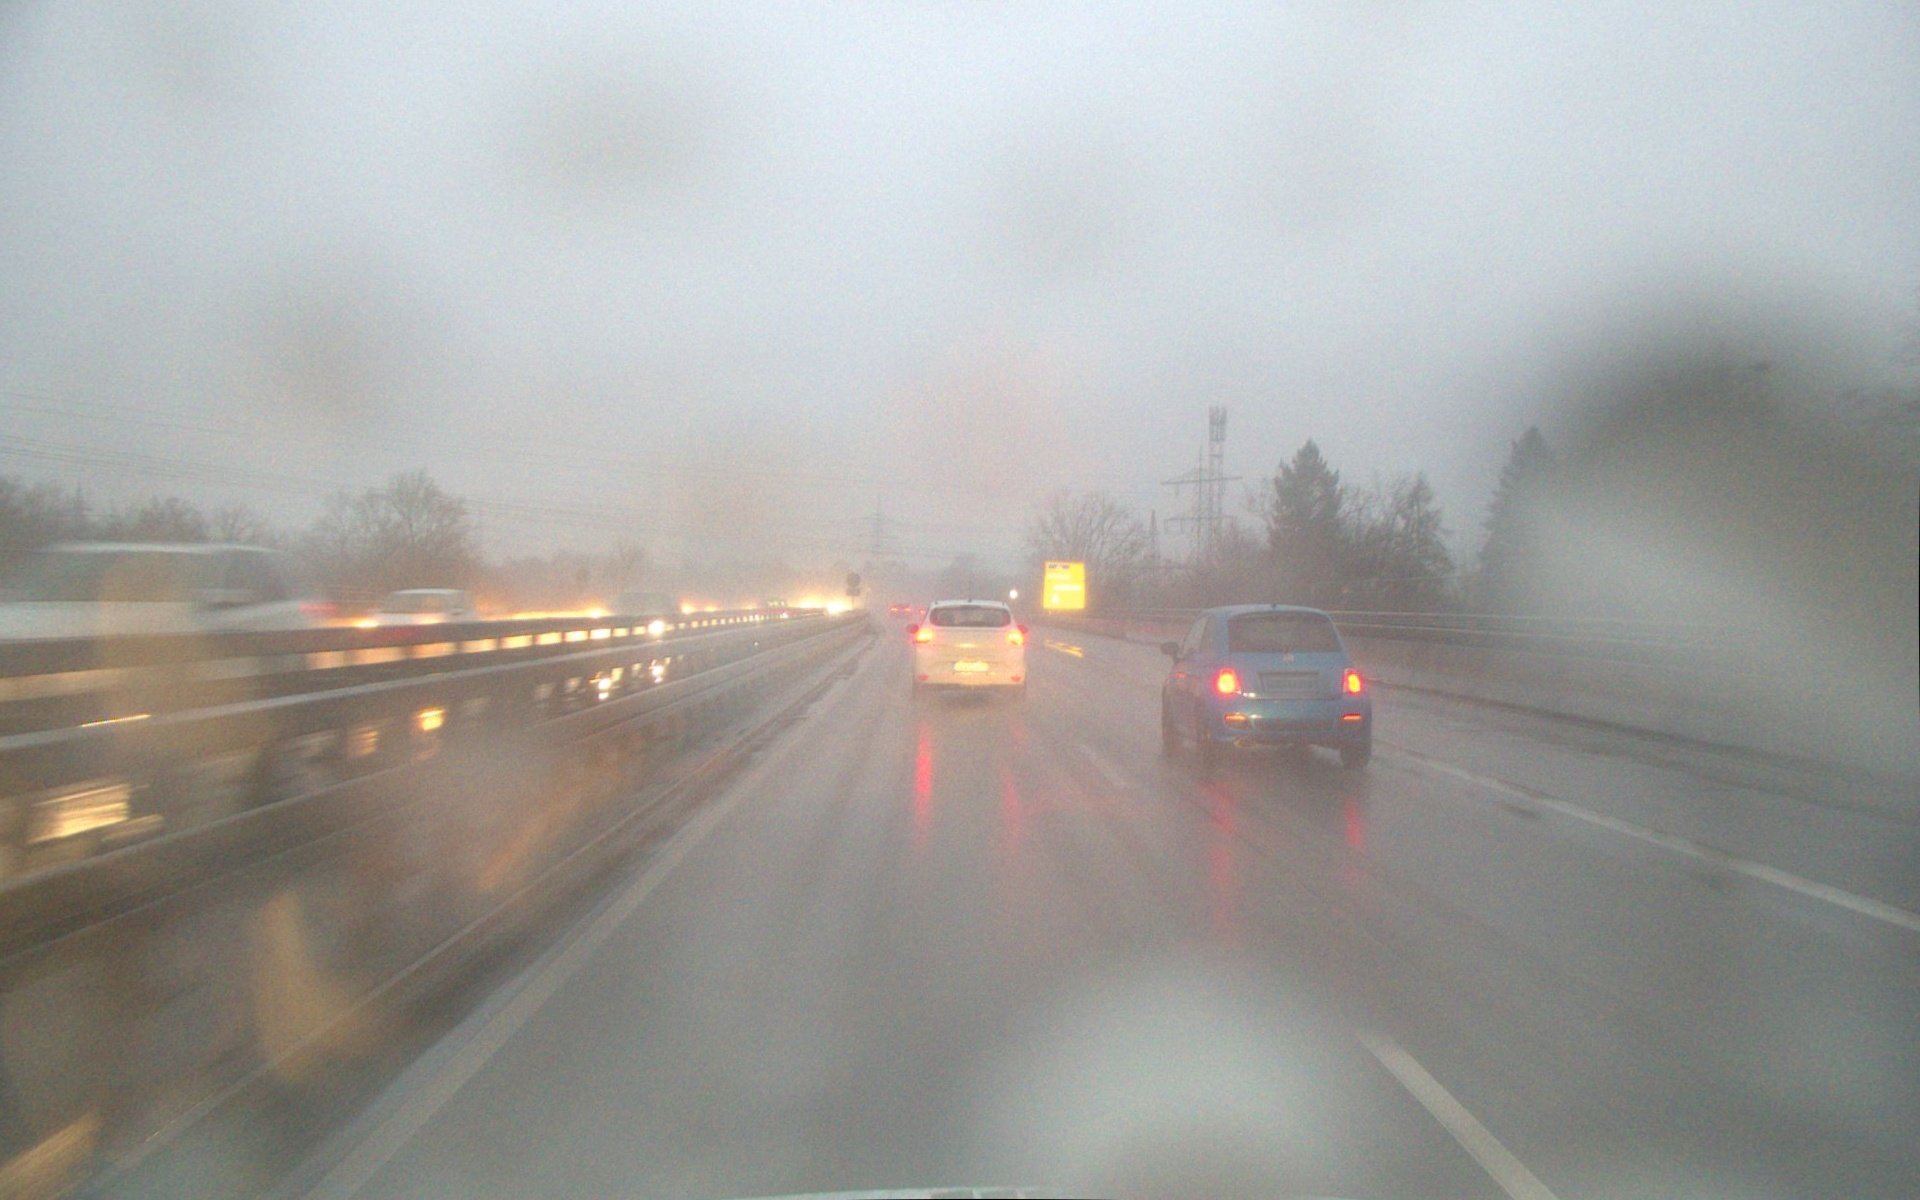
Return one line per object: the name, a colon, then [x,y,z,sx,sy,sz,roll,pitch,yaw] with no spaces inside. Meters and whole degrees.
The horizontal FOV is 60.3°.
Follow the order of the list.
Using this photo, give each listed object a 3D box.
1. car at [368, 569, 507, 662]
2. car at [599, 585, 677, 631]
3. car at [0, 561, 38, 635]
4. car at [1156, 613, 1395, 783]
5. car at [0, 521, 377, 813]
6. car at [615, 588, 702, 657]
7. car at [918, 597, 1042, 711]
car: [-10.980,0.297,35.020,1.707,1.847,3.999,1,0,-1]
car: [-11.504,0.262,59.332,1.928,1.550,4.199,1,0,0]
car: [-27.542,-0.077,45.632,1.953,2.049,3.999,1,0,-1]
car: [3.171,0.928,17.426,1.807,1.479,4.149,0,1,1]
car: [-6.998,0.488,14.741,2.039,2.185,4.460,1,0,-1]
car: [-7.804,0.560,43.099,1.652,1.713,3.506,0,0,-1]
car: [0.317,0.801,26.240,1.807,1.664,3.768,0,0,0]
